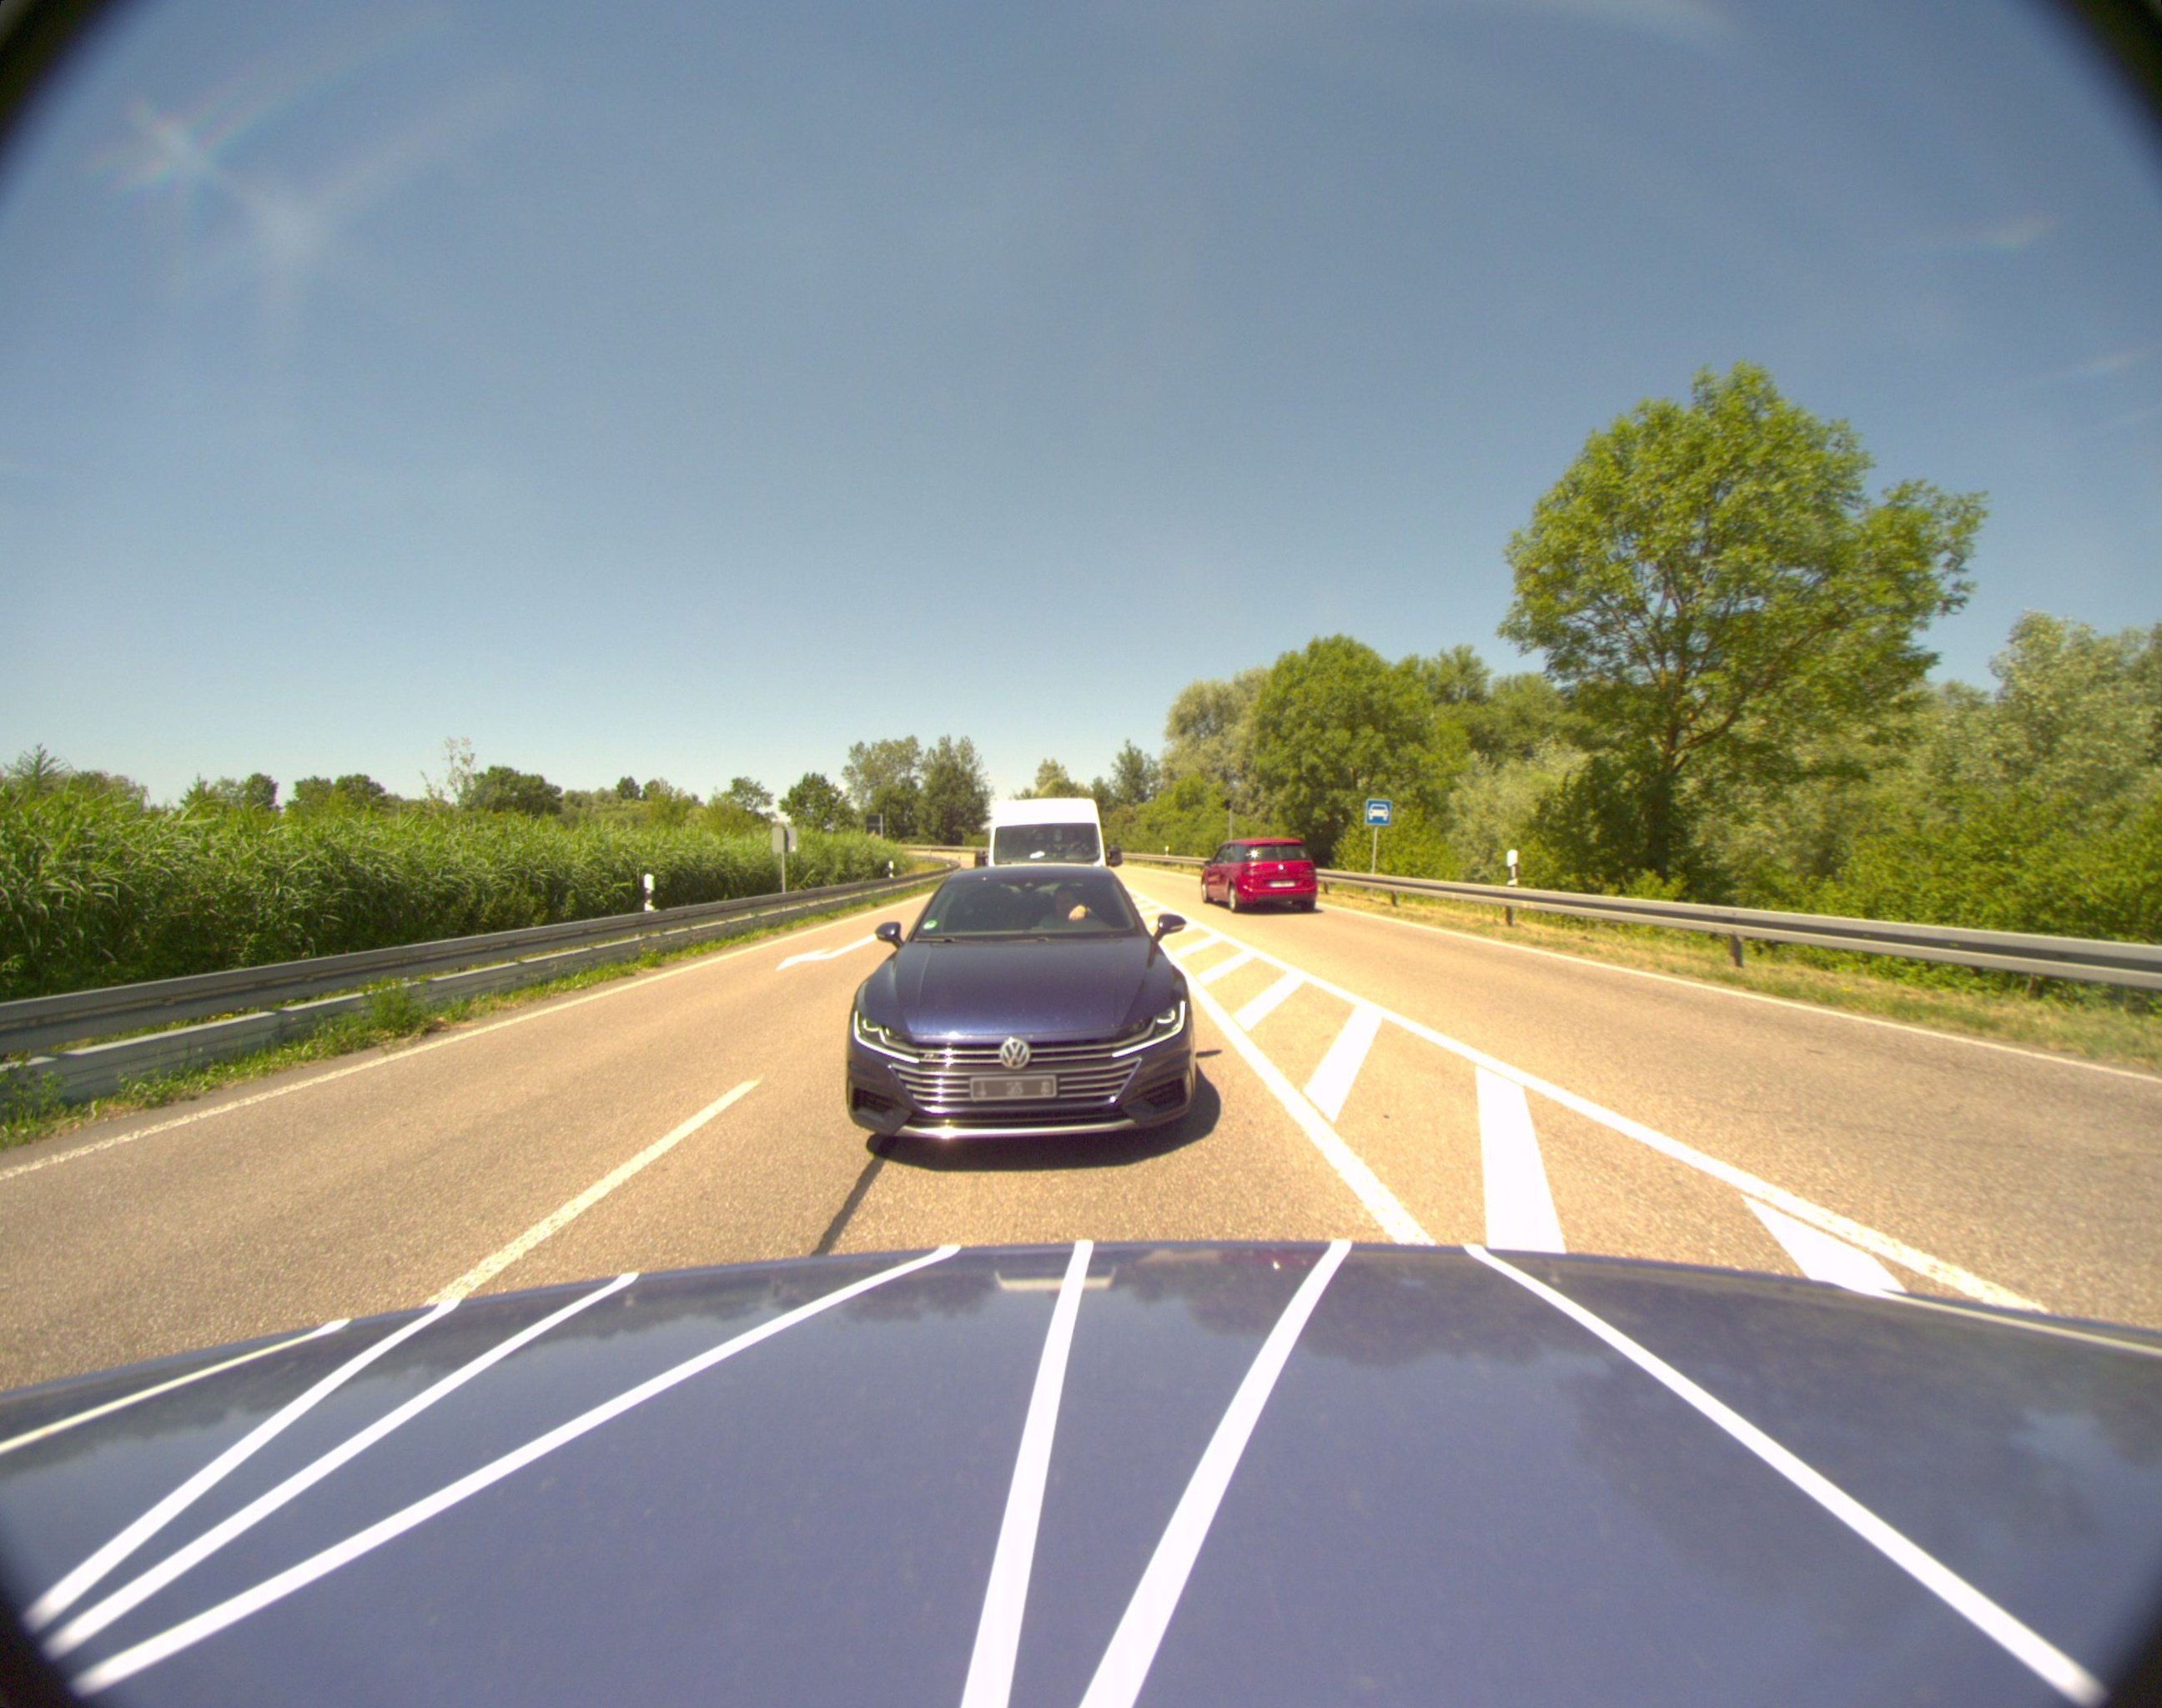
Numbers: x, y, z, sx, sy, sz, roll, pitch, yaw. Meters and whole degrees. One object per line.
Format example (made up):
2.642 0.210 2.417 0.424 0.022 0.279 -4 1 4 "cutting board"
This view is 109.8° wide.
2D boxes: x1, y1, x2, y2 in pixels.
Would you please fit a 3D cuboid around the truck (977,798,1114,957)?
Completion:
-0.715 0.319 14.510 2.011 2.365 5.909 -2 1 -4 "truck"

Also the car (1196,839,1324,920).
4.030 0.500 17.835 1.741 1.676 4.207 0 1 -4 "car"

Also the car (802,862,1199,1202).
-0.350 0.866 5.769 1.819 1.454 4.415 -2 1 1 "car"
